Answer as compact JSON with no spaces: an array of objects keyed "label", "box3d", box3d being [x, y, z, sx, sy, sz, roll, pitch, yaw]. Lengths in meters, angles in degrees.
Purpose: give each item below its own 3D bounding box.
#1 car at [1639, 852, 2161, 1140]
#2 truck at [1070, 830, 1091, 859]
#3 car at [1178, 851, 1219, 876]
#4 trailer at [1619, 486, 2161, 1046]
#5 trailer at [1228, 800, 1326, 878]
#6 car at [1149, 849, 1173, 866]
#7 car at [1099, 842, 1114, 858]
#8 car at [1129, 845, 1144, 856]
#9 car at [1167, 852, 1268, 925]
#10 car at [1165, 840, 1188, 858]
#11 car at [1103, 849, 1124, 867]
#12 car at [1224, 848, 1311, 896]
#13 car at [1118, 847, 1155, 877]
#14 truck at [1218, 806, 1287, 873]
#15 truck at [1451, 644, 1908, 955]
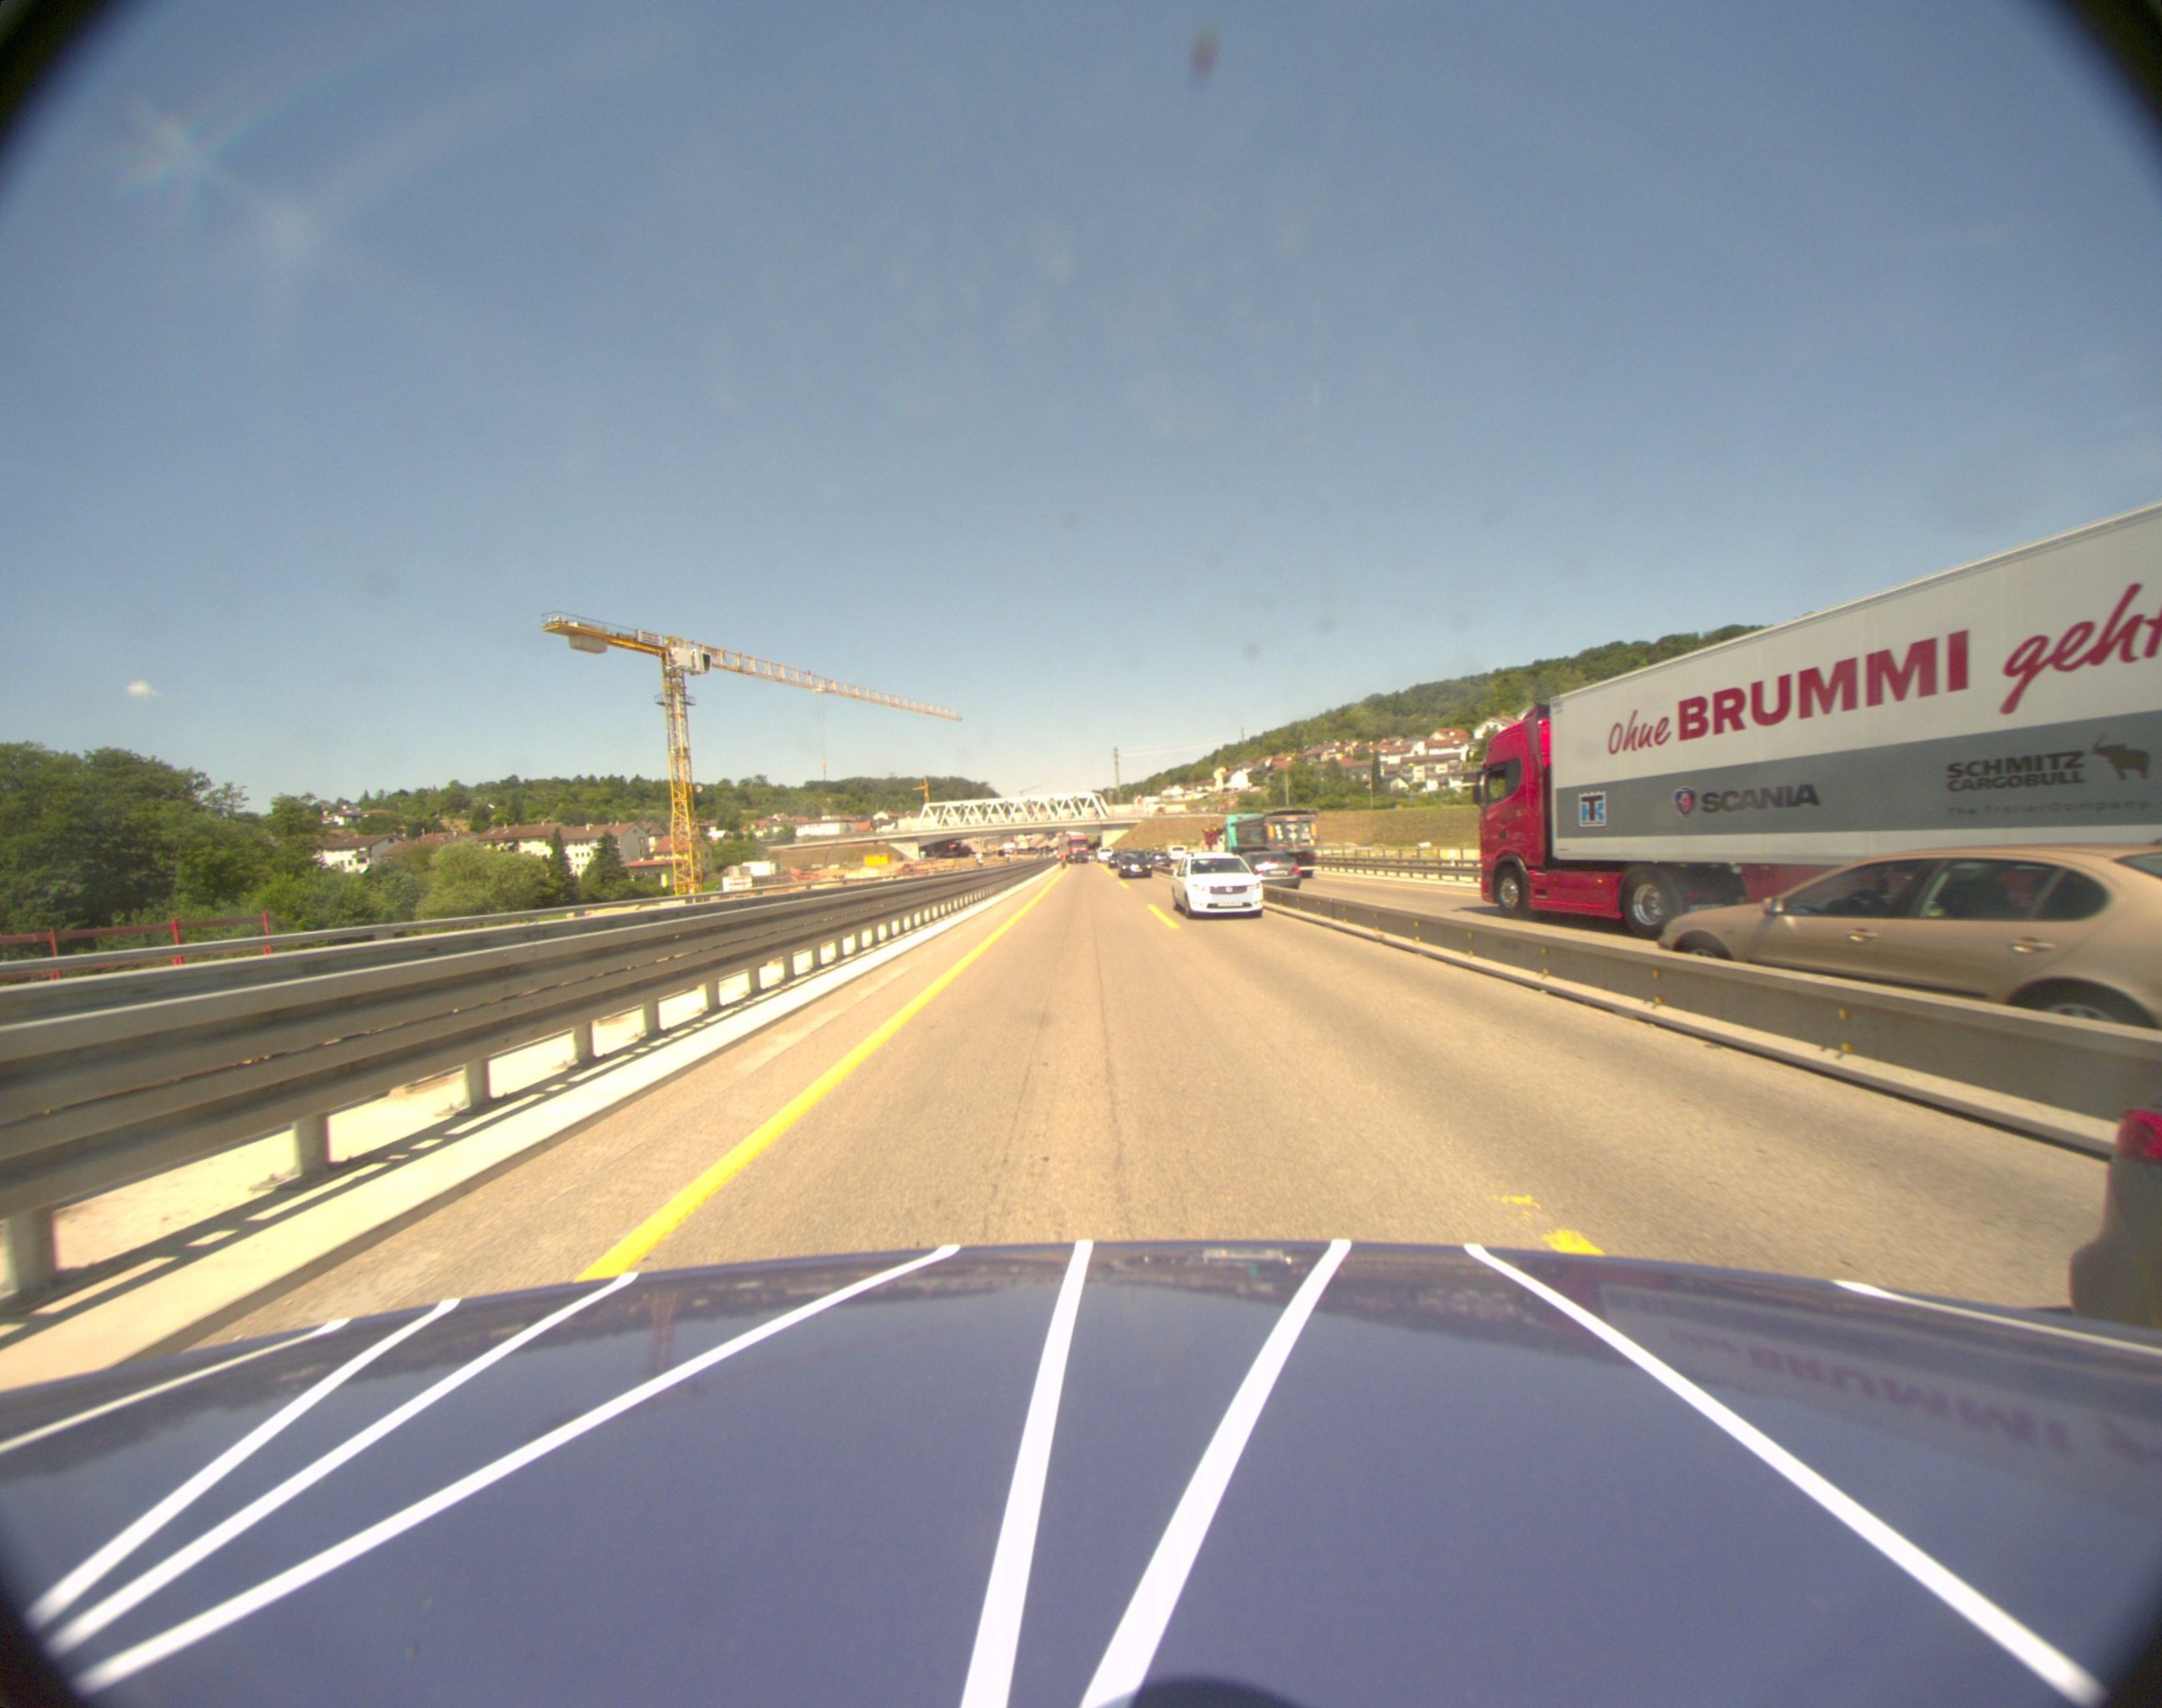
[{"label":"car","box3d":[6.362,0.731,5.176,1.906,1.453,4.193,1,0,-3]},{"label":"truck","box3d":[-0.120,-1.382,103.717,2.703,3.705,8.505,-2,1,-1]},{"label":"car","box3d":[6.745,0.503,43.992,1.785,1.372,4.711,0,0,2]},{"label":"trailer","box3d":[9.441,-0.687,5.390,2.813,4.152,11.798,-2,0,0]},{"label":"trailer","box3d":[10.150,-0.757,40.546,2.801,3.651,8.955,-2,1,0]},{"label":"car","box3d":[6.860,0.297,65.303,1.635,1.400,4.103,0,0,1]},{"label":"car","box3d":[3.240,-0.497,96.137,1.791,1.871,4.000,-4,0,2]},{"label":"car","box3d":[7.553,-0.468,103.940,1.830,1.410,4.657,0,0,2]},{"label":"car","box3d":[3.248,0.755,18.979,1.823,1.521,4.706,-1,0,2]},{"label":"car","box3d":[10.500,-0.521,83.807,1.864,1.856,4.628,-1,0,-2]},{"label":"car","box3d":[3.008,0.351,71.158,1.791,1.578,4.000,-4,0,2]},{"label":"car","box3d":[6.533,0.581,27.245,1.894,1.479,4.919,-3,0,1]},{"label":"car","box3d":[3.280,0.475,45.973,1.862,1.683,4.097,-2,0,0]},{"label":"truck","box3d":[10.132,-0.864,45.411,2.804,3.701,5.373,-2,1,0]},{"label":"truck","box3d":[9.505,-0.702,13.316,2.823,4.013,6.522,-2,0,1]}]
